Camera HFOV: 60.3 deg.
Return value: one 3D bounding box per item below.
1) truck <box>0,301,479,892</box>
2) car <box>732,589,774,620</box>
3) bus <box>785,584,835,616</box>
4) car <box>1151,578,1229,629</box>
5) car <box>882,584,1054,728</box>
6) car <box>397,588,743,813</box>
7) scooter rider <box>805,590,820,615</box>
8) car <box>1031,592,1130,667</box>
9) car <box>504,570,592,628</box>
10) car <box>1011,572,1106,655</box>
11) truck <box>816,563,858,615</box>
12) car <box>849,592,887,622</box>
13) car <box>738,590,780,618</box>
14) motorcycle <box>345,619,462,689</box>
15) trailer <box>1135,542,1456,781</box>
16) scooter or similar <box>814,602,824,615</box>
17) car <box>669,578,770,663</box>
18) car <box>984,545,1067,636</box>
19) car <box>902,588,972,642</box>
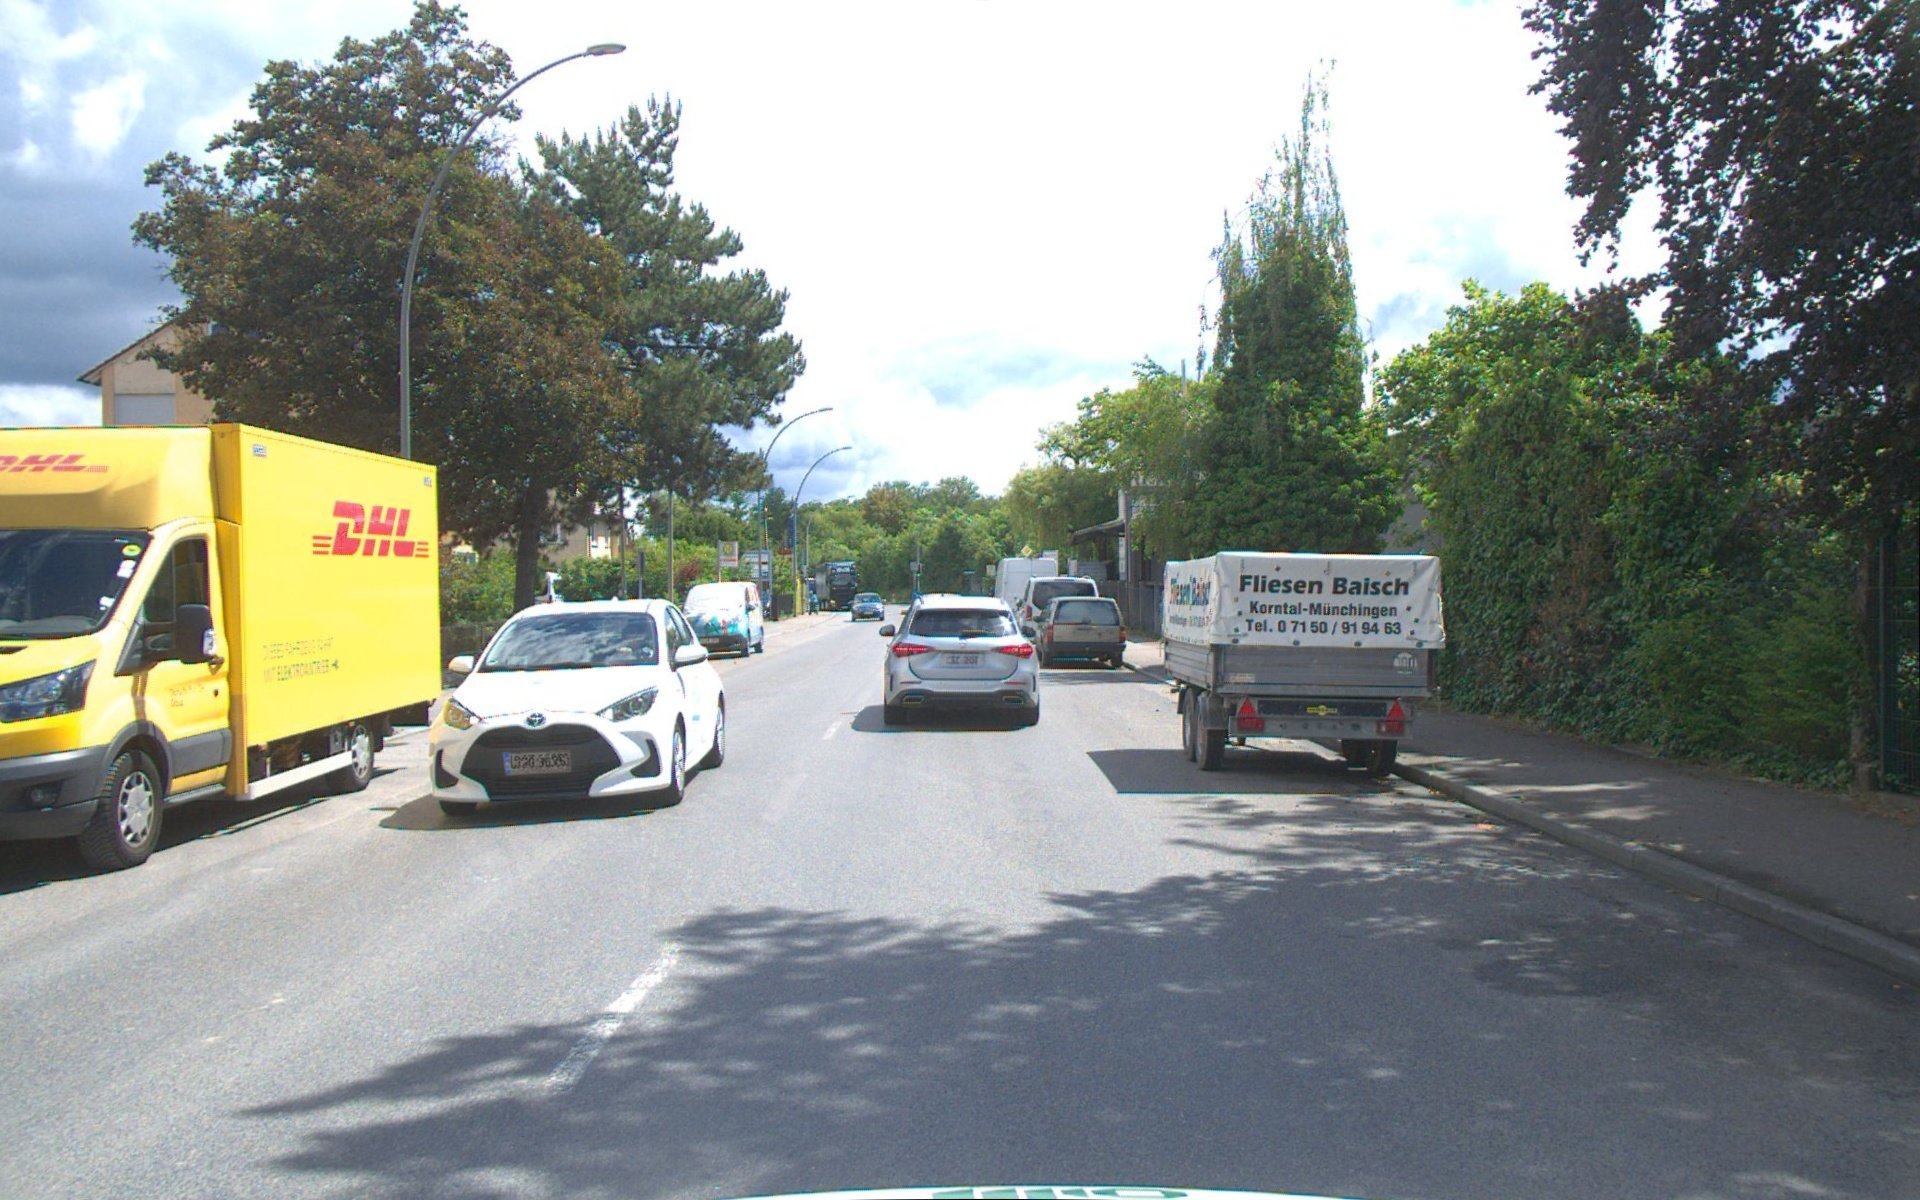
[{"bbox_3d":[-5.864,0.018,12.480,2.277,3.055,7.815,-3,0,-2],"label":"truck"},{"bbox_3d":[-11.379,0.229,91.104,1.991,1.623,4.281,-1,0,-3],"label":"car"},{"bbox_3d":[-17.051,0.035,187.000,2.736,3.323,12.055,-2,0,-19],"label":"bus"},{"bbox_3d":[7.348,0.082,53.214,1.728,1.515,4.926,-1,1,-1],"label":"car"},{"bbox_3d":[0.061,0.593,19.894,1.846,1.535,3.999,-1,0,-1],"label":"car"},{"bbox_3d":[-2.878,0.666,13.123,1.942,1.445,3.998,-2,0,-3],"label":"car"},{"bbox_3d":[-9.672,0.155,108.286,0.860,1.617,0.796,-1,0,-1],"label":"scooter rider"},{"bbox_3d":[2.549,0.589,35.866,1.719,1.476,4.993,1,0,0],"label":"car"},{"bbox_3d":[-19.674,-0.067,79.359,2.362,2.539,6.137,-3,0,2],"label":"car"},{"bbox_3d":[2.387,0.293,41.471,1.867,1.918,5.388,1,0,-2],"label":"car"},{"bbox_3d":[-10.512,-0.912,140.765,2.386,4.203,9.124,1,0,-11],"label":"truck"},{"bbox_3d":[-4.931,0.354,88.853,1.862,1.544,4.317,-2,0,-2],"label":"car"},{"bbox_3d":[-11.562,0.195,95.482,2.111,1.533,4.265,-1,0,-3],"label":"car"},{"bbox_3d":[-9.945,0.961,29.574,1.830,1.186,0.825,-1,0,16],"label":"motorcycle"},{"bbox_3d":[2.885,0.472,15.353,1.953,1.854,4.764,1,0,-1],"label":"trailer"},{"bbox_3d":[-9.165,0.555,107.827,0.599,0.846,0.659,1,0,-1],"label":"scooter or similar"},{"bbox_3d":[-6.055,0.451,42.146,1.796,1.885,4.895,-4,1,-1],"label":"car"},{"bbox_3d":[2.072,-0.309,54.299,2.170,2.736,6.655,-2,0,-2],"label":"car"},{"bbox_3d":[-0.734,0.419,49.865,1.848,1.535,3.996,-1,0,-5],"label":"car"}]
